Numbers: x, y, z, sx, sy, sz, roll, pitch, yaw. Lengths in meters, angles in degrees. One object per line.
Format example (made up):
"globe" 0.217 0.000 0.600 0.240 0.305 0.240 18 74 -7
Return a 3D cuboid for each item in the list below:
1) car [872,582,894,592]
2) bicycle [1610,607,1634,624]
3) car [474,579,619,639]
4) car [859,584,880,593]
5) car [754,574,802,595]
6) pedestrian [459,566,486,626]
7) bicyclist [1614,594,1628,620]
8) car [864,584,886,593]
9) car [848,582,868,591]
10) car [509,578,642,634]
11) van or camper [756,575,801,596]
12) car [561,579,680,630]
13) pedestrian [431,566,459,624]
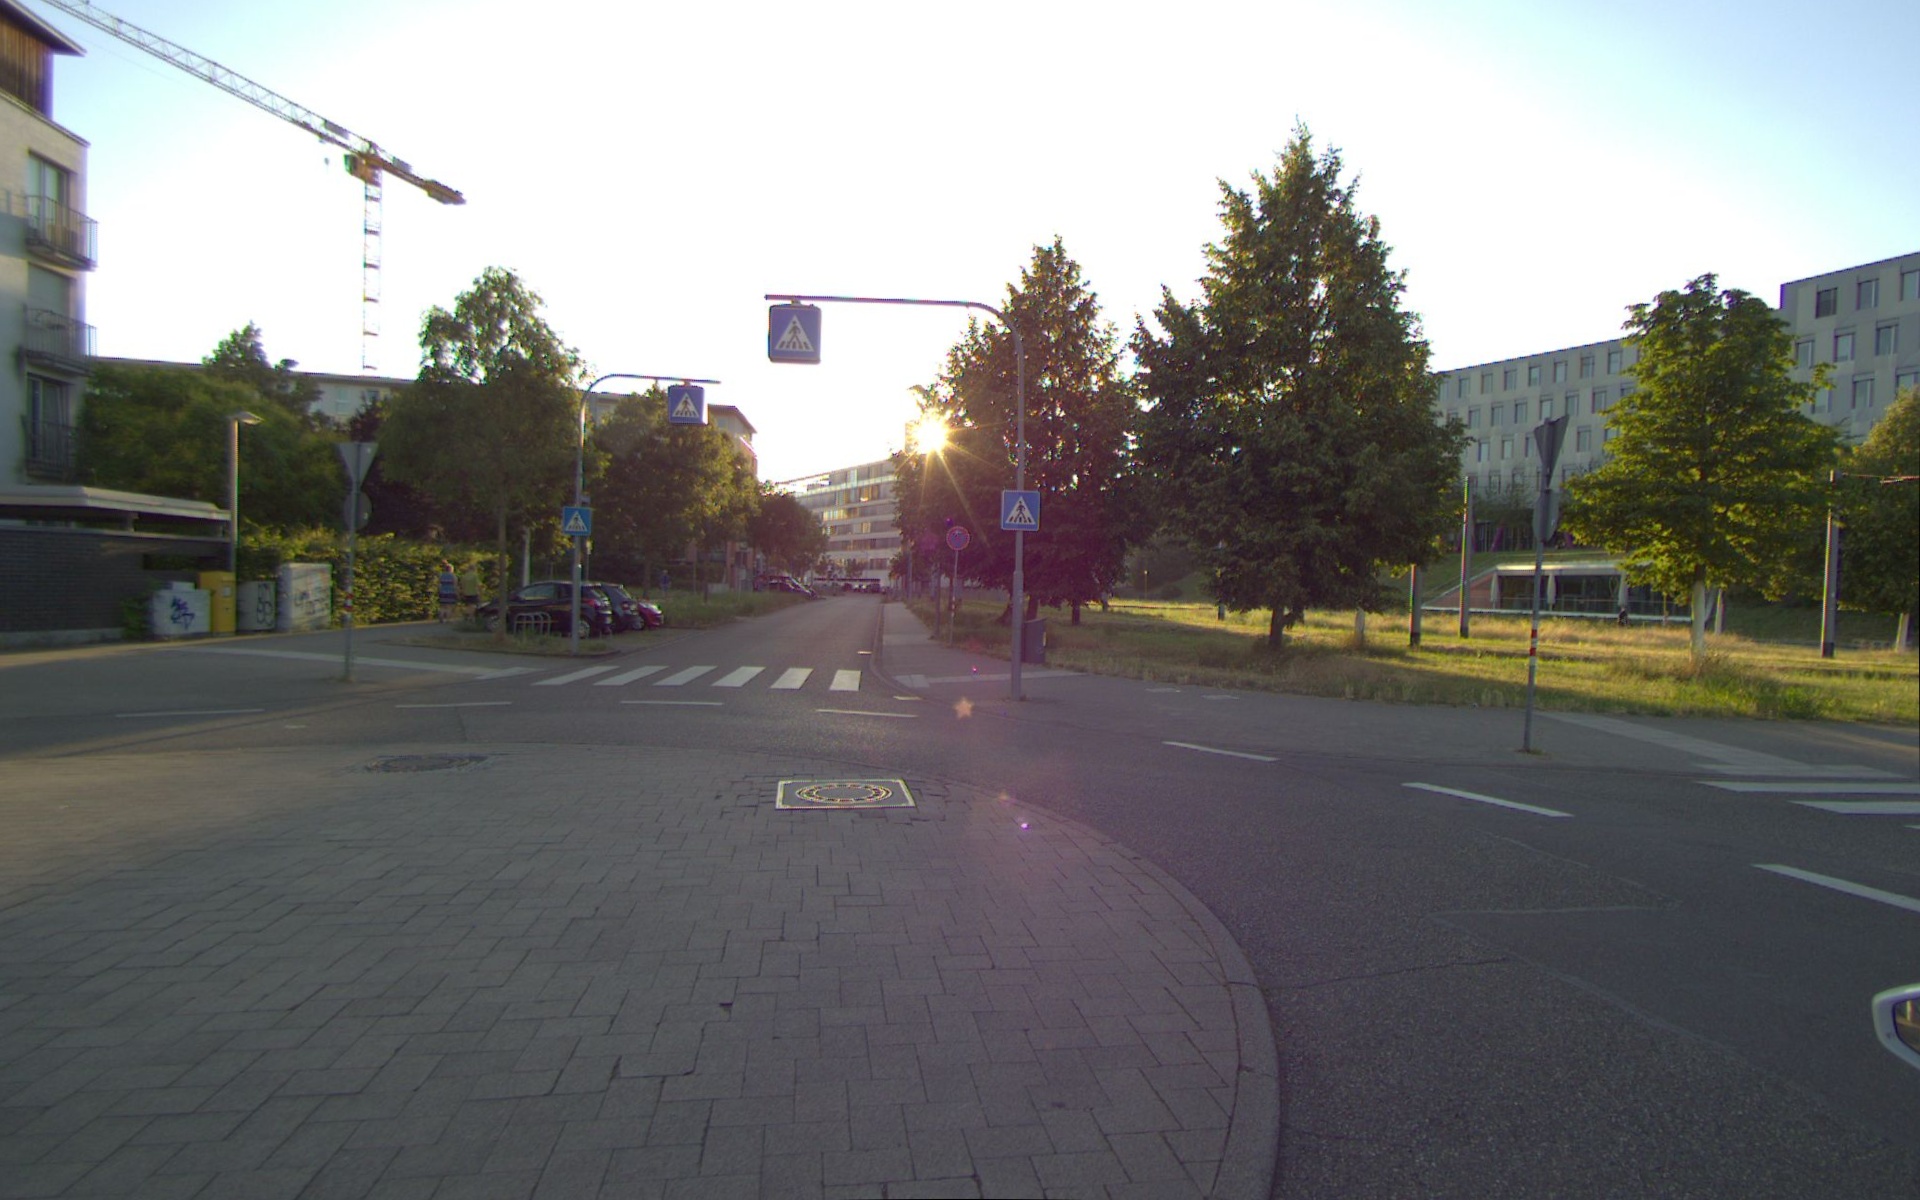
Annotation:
"car" -13.420 -2.294 174.611 3.808 1.635 1.700 0 1 -8
"bicycle" 38.657 0.900 58.674 0.423 0.912 1.234 0 1 -8
"car" -11.367 0.237 27.783 3.346 1.542 1.689 1 1 -6
"car" -16.619 -2.082 183.925 3.735 1.635 1.649 0 1 -8
"car" -15.072 -1.301 83.233 3.811 1.717 1.699 0 1 -11
"pedestrian" -13.981 -0.120 28.821 0.617 1.690 0.737 0 3 -32
"bicyclist" 38.647 0.411 58.725 0.416 1.515 0.513 0 1 -7
"car" -15.226 -2.066 179.214 3.808 1.635 1.700 0 1 -8
"car" -19.627 -2.589 192.801 3.735 1.635 1.649 0 1 -8
"car" -11.373 0.170 29.884 3.346 1.520 1.593 1 1 -6
"van or camper" -15.568 -1.254 86.208 3.811 1.717 1.831 0 1 -11
"car" -11.006 0.130 32.702 3.346 1.520 1.593 1 1 -6
"pedestrian" -14.557 -0.147 28.380 0.649 1.621 0.706 0 3 -32
